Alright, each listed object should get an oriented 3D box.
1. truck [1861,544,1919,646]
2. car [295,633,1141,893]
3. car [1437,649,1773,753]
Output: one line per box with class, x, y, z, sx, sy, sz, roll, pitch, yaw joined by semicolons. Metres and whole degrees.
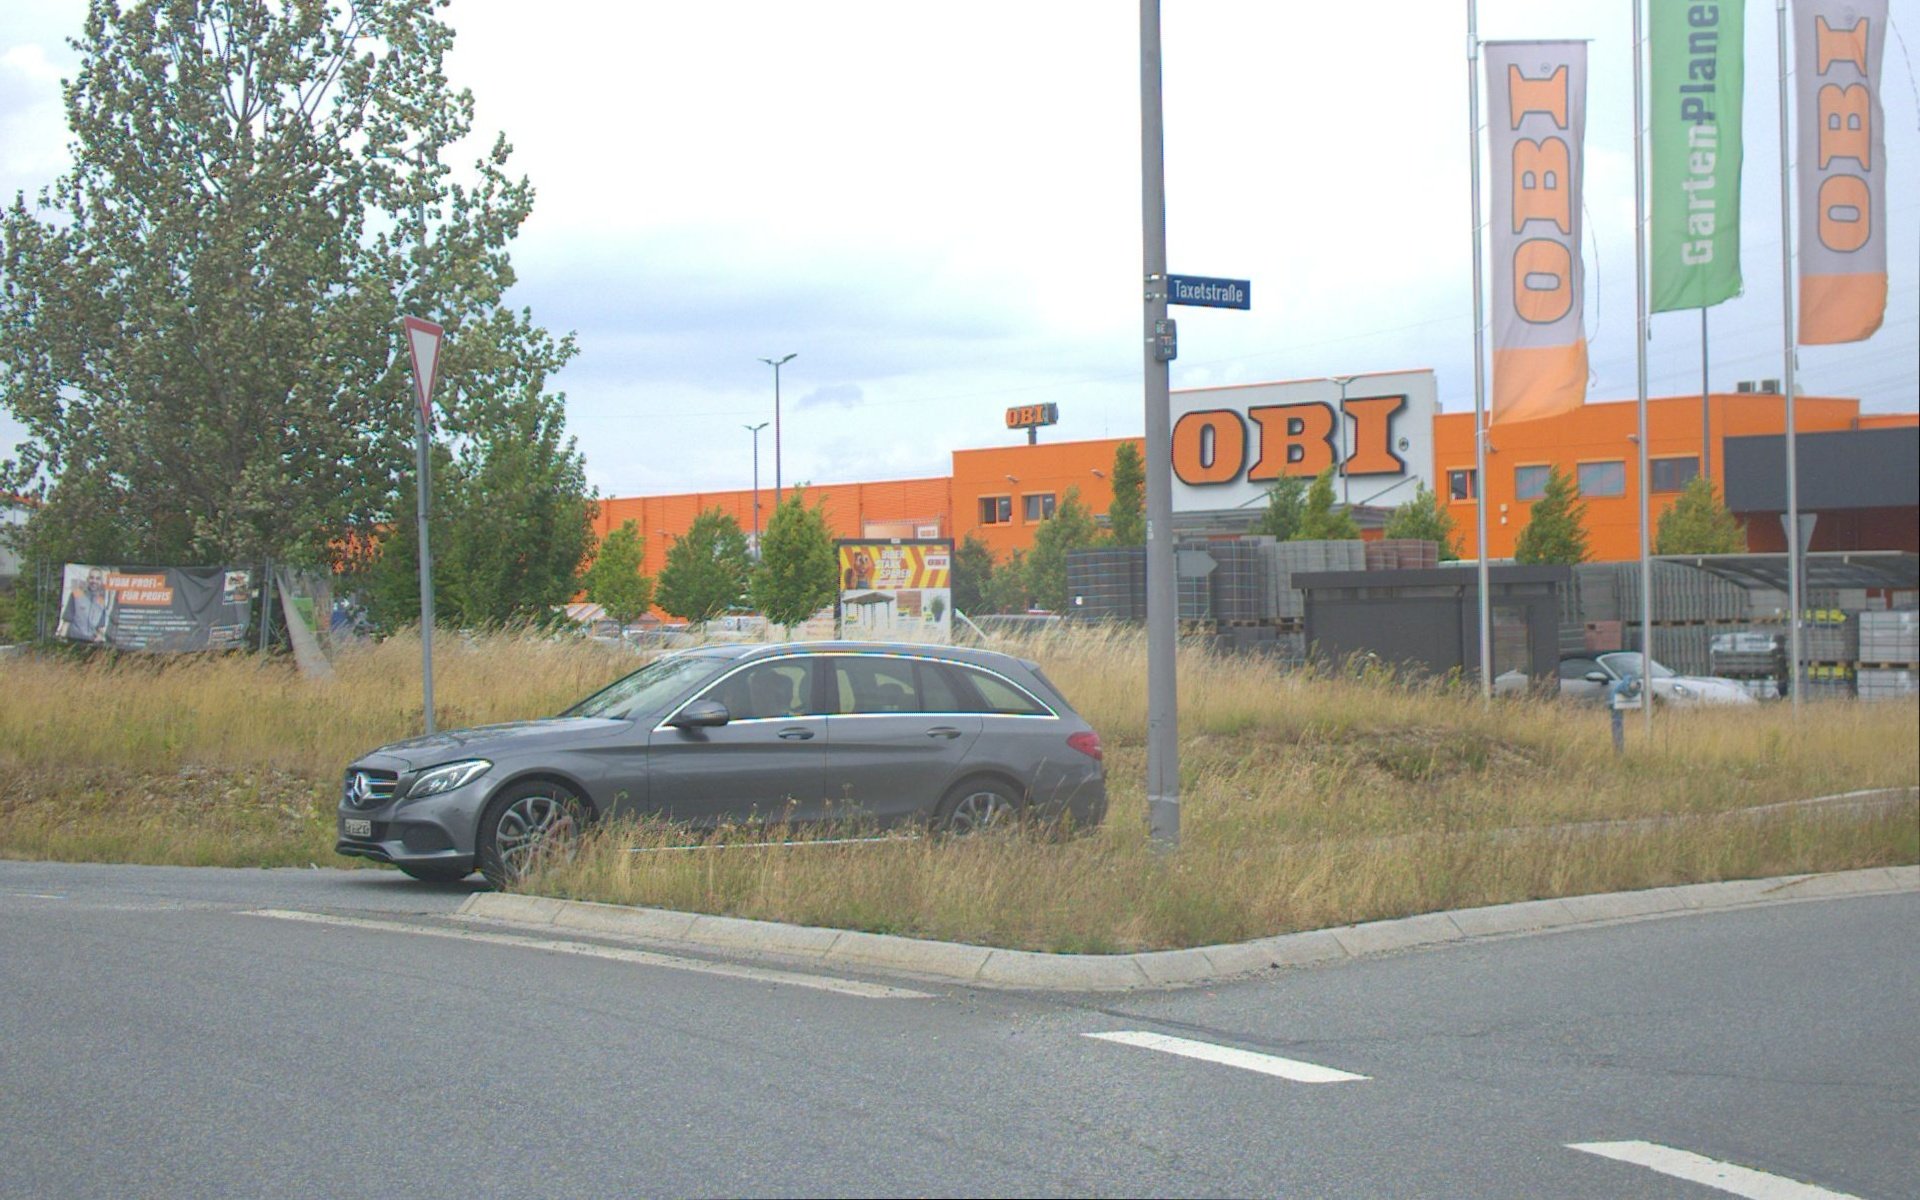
truck;25.684;-0.167;86.123;2.434;2.476;5.546;2;-3;-44
car;-1.411;0.935;20.639;4.672;1.399;1.928;1;-1;-29
car;9.477;1.464;50.803;1.739;1.399;4.755;1;-1;-43
